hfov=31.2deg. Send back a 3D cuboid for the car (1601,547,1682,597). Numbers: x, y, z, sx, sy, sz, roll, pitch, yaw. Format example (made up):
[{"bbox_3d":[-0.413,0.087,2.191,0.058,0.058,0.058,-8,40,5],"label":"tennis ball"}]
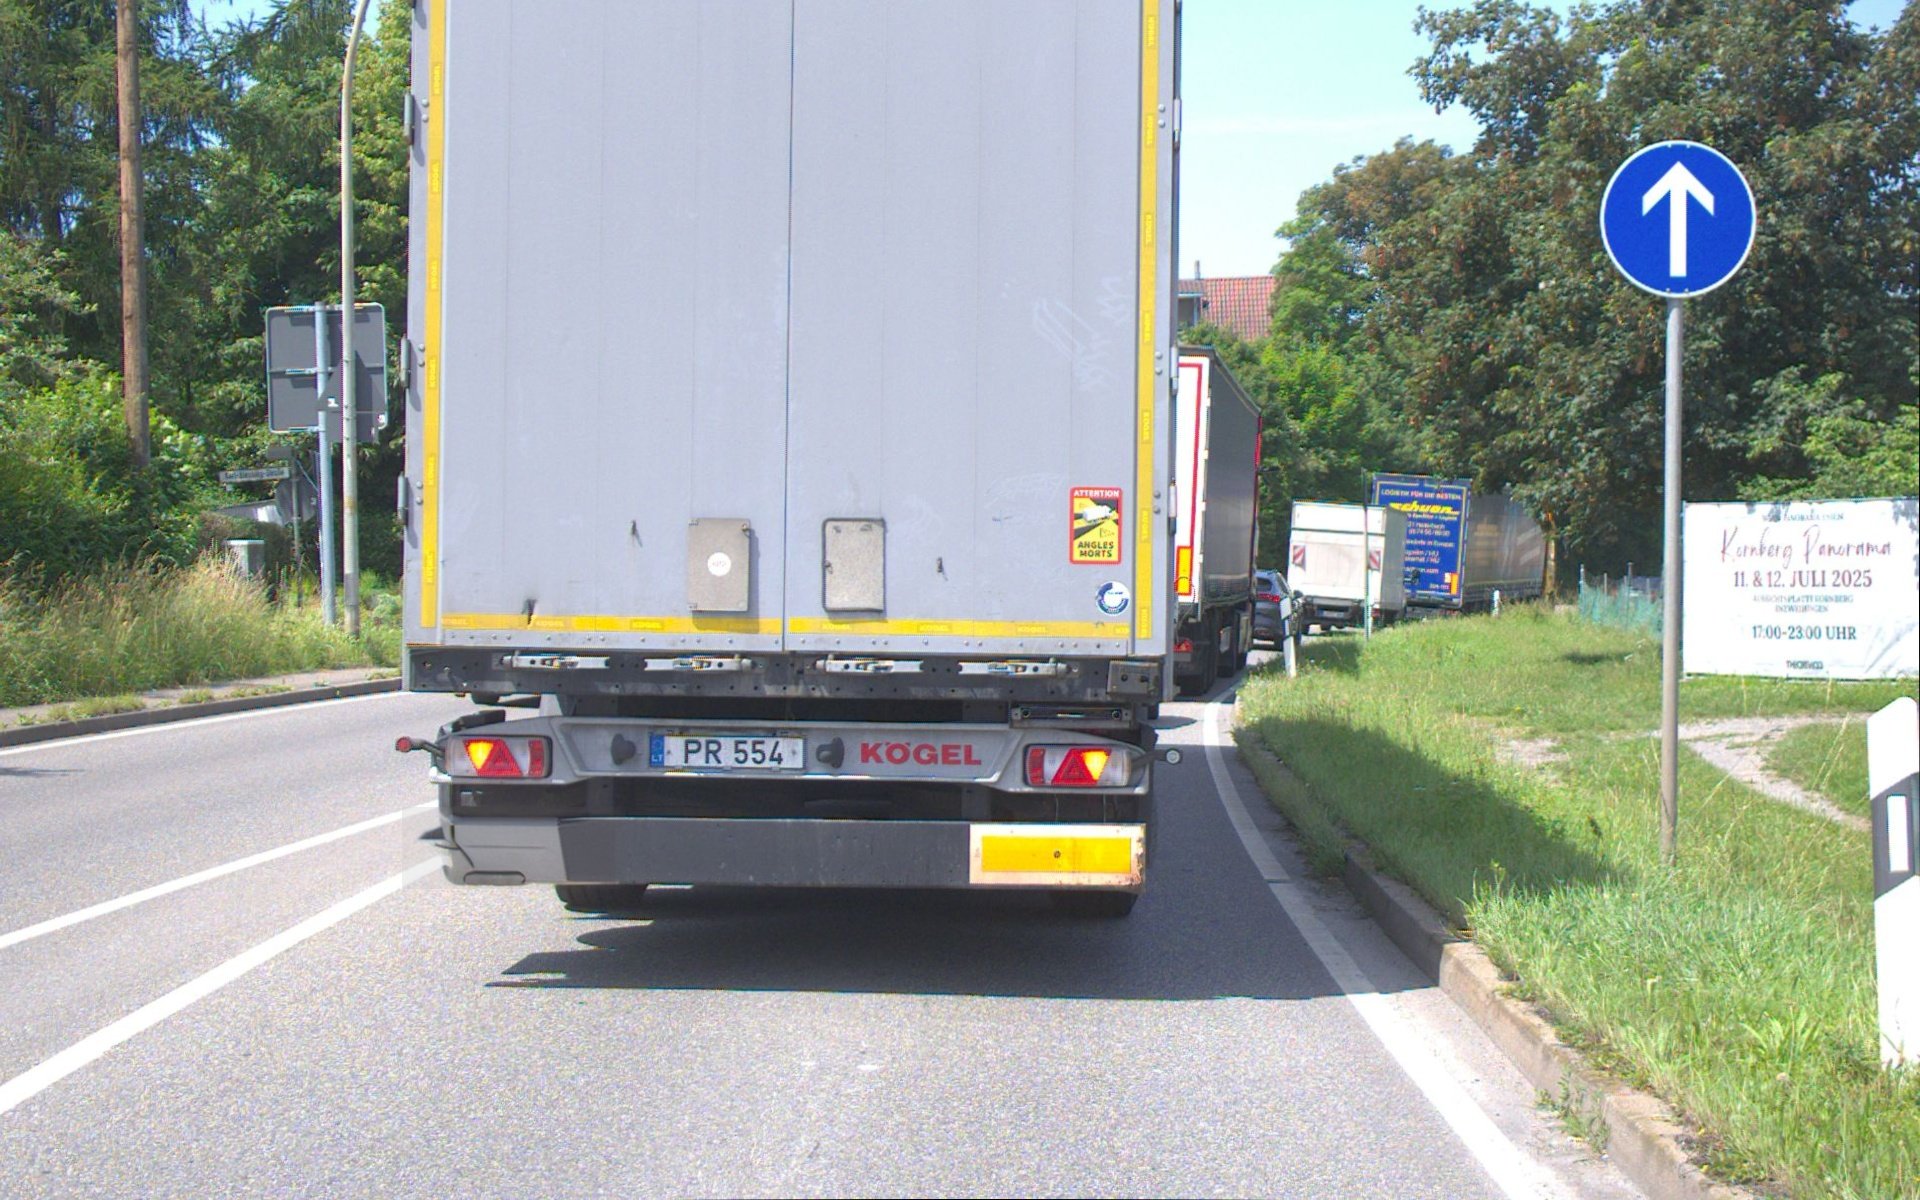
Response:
[{"bbox_3d":[23.764,-0.981,119.805,1.996,1.678,3.995,1,1,23],"label":"car"}]

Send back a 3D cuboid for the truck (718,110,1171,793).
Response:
[{"bbox_3d":[0.054,-0.986,24.100,2.746,4.151,6.142,1,1,3],"label":"truck"}]

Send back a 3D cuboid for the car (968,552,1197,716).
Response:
[{"bbox_3d":[1.310,0.297,35.042,1.994,1.525,3.999,1,1,7],"label":"car"}]

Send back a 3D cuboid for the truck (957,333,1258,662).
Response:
[{"bbox_3d":[2.353,-1.483,51.490,3.938,4.559,7.150,0,1,7],"label":"truck"}]

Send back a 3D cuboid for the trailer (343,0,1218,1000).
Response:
[{"bbox_3d":[-0.291,-0.979,17.036,2.787,4.191,12.110,1,1,3],"label":"trailer"}]

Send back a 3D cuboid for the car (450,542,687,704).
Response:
[{"bbox_3d":[-3.715,0.183,33.145,1.622,1.377,3.560,3,2,4],"label":"car"}]

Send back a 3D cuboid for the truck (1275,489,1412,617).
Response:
[{"bbox_3d":[8.903,-1.125,79.416,2.422,2.828,5.409,1,1,14],"label":"truck"}]

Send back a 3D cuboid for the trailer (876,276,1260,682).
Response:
[{"bbox_3d":[1.748,-1.508,44.746,3.892,4.505,12.710,1,1,7],"label":"trailer"}]

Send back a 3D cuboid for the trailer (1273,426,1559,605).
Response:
[{"bbox_3d":[13.126,-2.381,96.777,5.184,4.612,15.882,1,1,18],"label":"trailer"}]

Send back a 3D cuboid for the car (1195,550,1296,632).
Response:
[{"bbox_3d":[5.540,-0.196,66.398,1.841,1.481,3.999,1,1,6],"label":"car"}]
